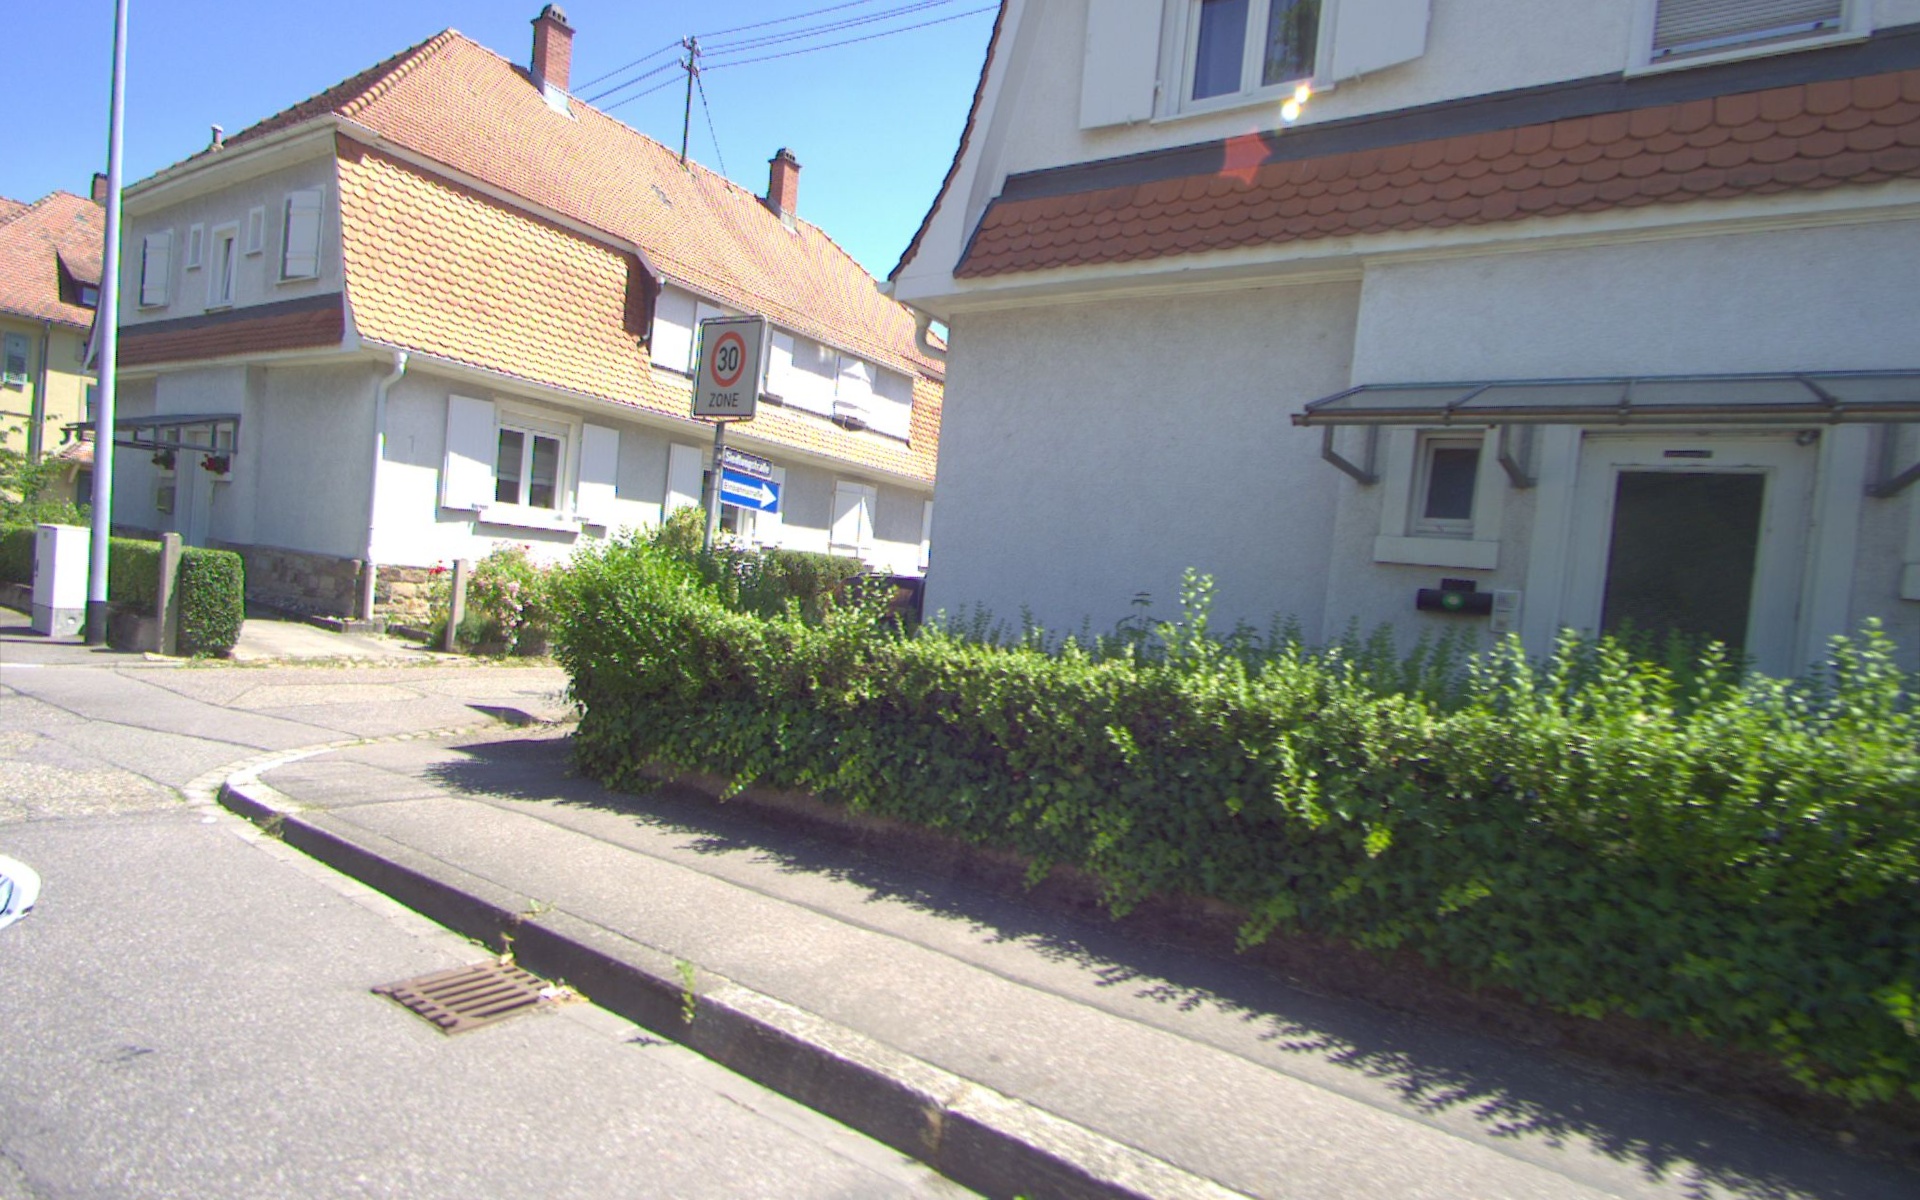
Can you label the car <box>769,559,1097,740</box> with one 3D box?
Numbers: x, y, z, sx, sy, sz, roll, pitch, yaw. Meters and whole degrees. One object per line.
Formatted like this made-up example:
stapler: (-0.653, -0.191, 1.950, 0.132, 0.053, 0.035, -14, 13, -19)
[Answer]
car: (-0.101, 0.538, 11.305, 1.665, 1.555, 3.998, 6, 0, 32)
